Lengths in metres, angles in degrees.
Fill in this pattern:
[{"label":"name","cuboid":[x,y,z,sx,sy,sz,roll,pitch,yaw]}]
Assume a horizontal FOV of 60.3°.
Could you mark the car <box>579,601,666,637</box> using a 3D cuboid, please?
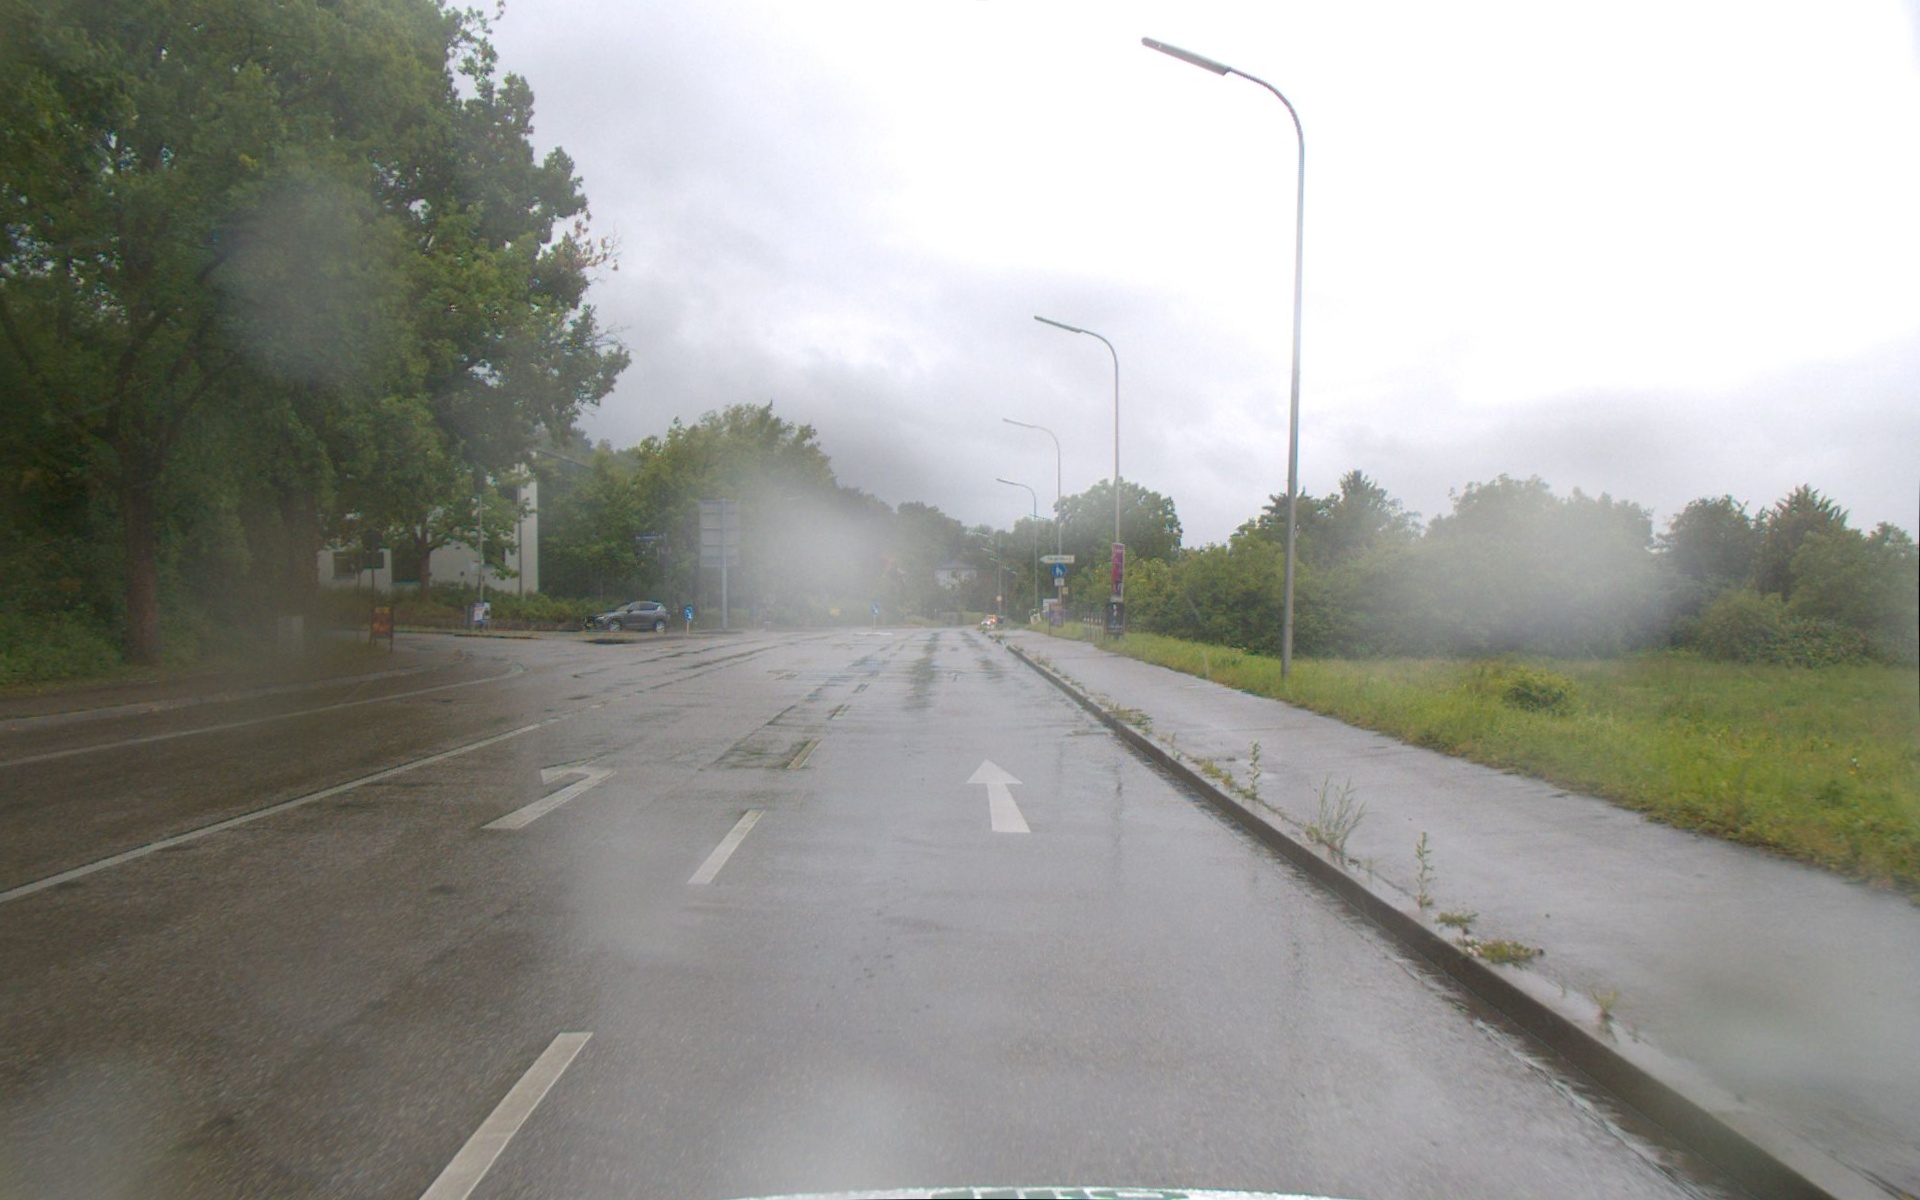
[{"label":"car","cuboid":[-17.025,0.968,83.529,3.949,1.793,1.780,1,0,-33]}]
